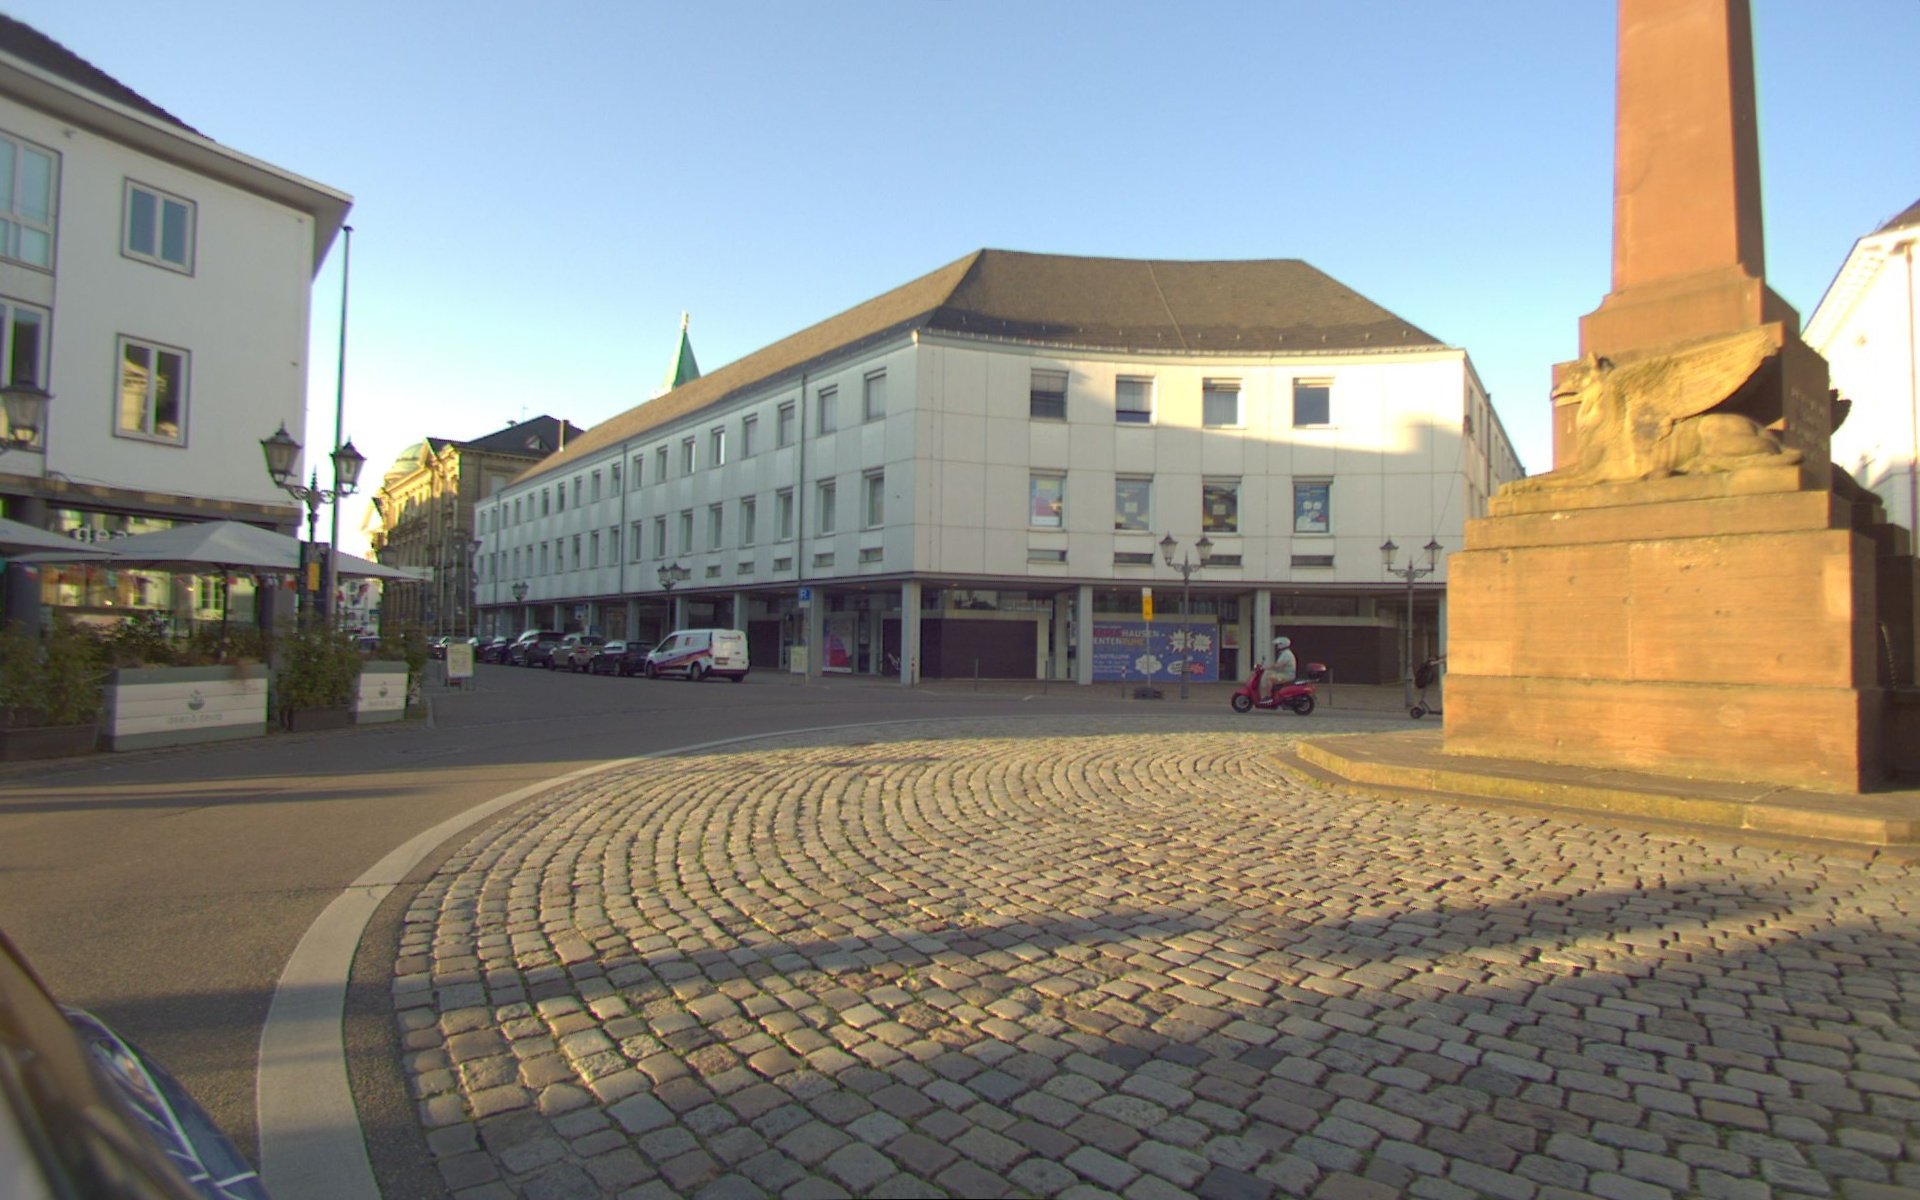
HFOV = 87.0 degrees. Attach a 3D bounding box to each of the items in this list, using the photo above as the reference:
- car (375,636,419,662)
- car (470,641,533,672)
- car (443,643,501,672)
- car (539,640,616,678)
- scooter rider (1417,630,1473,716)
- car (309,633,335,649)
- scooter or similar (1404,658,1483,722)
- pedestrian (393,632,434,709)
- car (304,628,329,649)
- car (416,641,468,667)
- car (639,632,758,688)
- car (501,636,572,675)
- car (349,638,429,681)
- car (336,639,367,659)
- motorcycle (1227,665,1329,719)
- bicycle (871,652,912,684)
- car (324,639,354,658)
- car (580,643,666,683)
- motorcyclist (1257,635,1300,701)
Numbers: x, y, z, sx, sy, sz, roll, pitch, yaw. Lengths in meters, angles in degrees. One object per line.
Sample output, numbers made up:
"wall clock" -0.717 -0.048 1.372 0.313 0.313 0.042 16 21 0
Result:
"car" -39.233 3.391 70.451 1.754 1.679 4.334 3 -3 -41
"car" -23.731 2.906 52.325 1.754 1.503 4.334 3 -3 -41
"car" -27.076 3.170 56.105 1.754 1.503 4.334 3 -3 -41
"car" -16.262 2.476 42.884 1.754 1.527 3.966 3 -3 -41
"scooter rider" 10.217 1.520 21.344 0.908 1.777 0.677 -2 -4 40
"car" -66.037 4.240 104.709 1.754 1.679 4.336 3 -3 -39
"scooter or similar" 10.190 1.871 21.339 1.358 1.281 0.678 -2 -3 41
"pedestrian" -12.440 1.590 23.027 0.595 1.713 0.714 3 -4 -45
"car" -69.711 4.157 109.596 1.754 2.244 4.336 3 -3 -39
"car" -30.924 3.201 60.332 1.754 1.503 4.334 3 -3 -41
"car" -9.225 2.064 35.526 4.461 1.839 1.993 -2 -3 44
"car" -19.928 2.585 47.565 1.754 1.741 4.334 3 -3 -41
"car" -20.502 2.108 36.282 1.754 1.435 3.967 3 -3 -40
"car" -54.277 4.351 90.210 1.754 1.679 4.336 3 -3 -39
"motorcycle" 6.717 1.932 21.427 2.016 1.054 0.800 0 -3 18
"bicycle" -2.620 2.557 38.398 0.473 1.164 1.952 3 -3 -40
"car" -58.246 4.510 94.861 1.754 1.679 4.336 3 -3 -39
"car" -13.127 2.420 39.350 1.754 1.435 3.966 3 -3 -41
"motorcyclist" 6.749 1.422 21.444 0.853 1.354 0.800 0 -3 18
